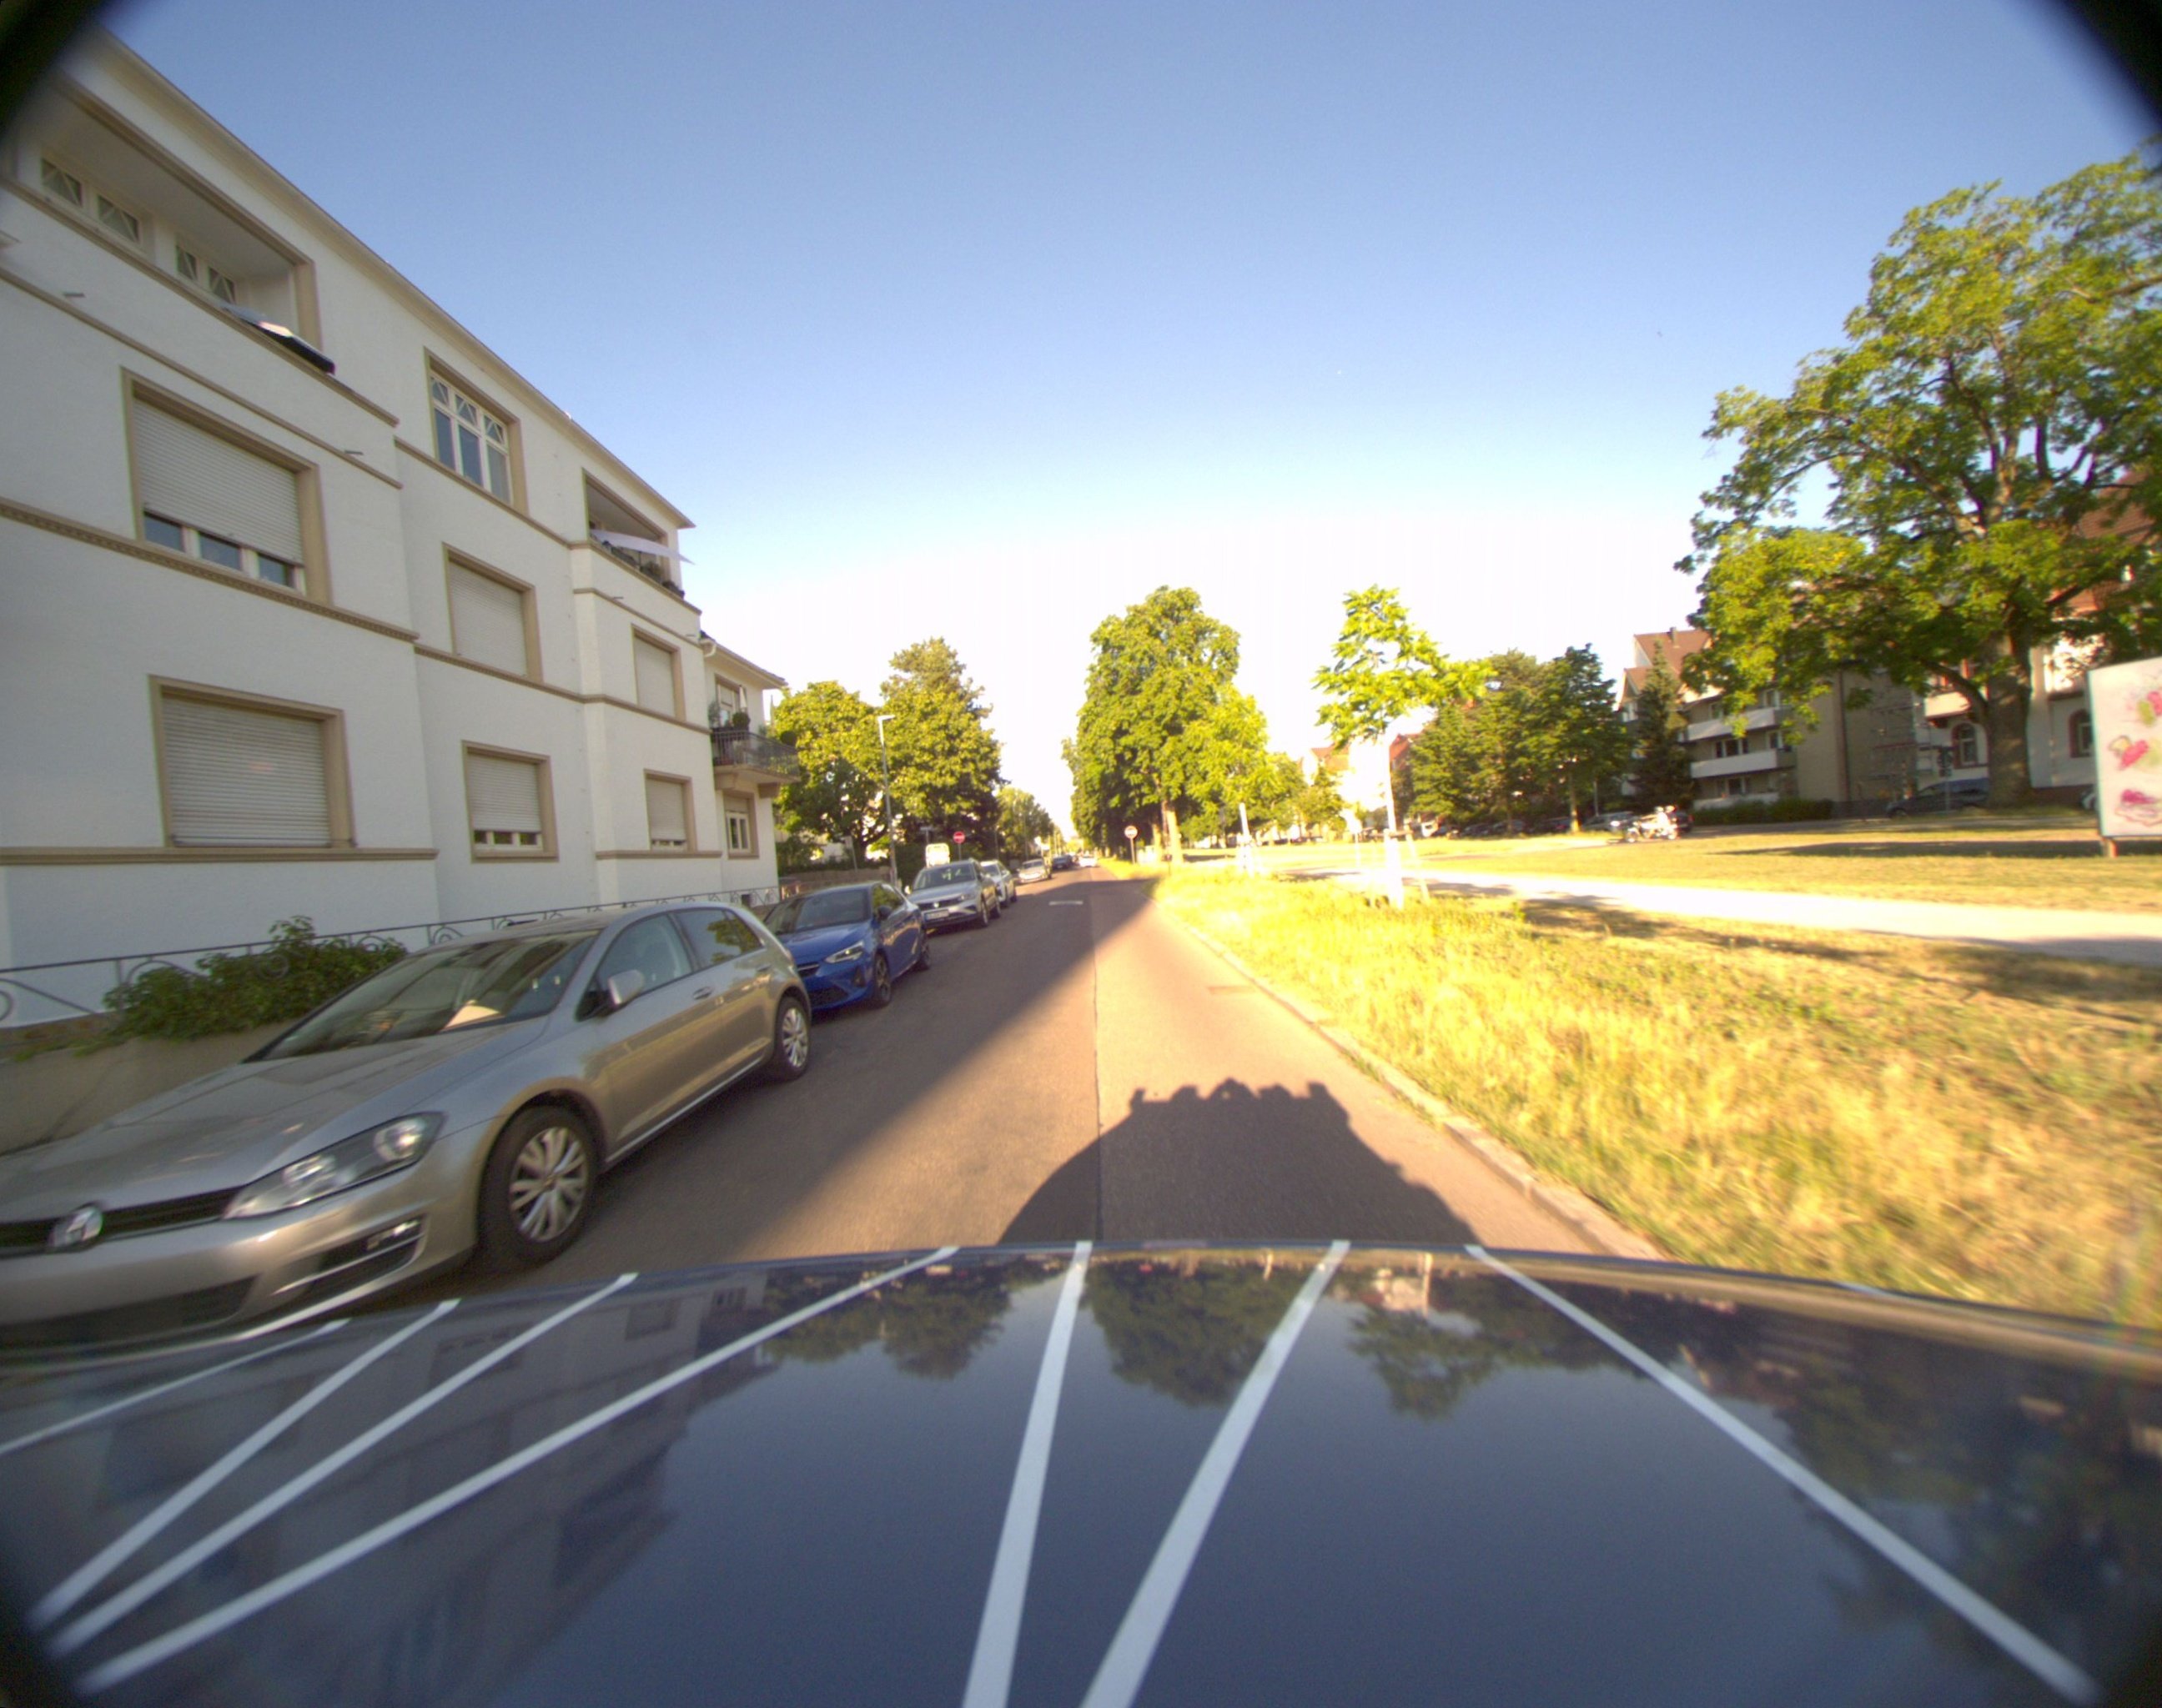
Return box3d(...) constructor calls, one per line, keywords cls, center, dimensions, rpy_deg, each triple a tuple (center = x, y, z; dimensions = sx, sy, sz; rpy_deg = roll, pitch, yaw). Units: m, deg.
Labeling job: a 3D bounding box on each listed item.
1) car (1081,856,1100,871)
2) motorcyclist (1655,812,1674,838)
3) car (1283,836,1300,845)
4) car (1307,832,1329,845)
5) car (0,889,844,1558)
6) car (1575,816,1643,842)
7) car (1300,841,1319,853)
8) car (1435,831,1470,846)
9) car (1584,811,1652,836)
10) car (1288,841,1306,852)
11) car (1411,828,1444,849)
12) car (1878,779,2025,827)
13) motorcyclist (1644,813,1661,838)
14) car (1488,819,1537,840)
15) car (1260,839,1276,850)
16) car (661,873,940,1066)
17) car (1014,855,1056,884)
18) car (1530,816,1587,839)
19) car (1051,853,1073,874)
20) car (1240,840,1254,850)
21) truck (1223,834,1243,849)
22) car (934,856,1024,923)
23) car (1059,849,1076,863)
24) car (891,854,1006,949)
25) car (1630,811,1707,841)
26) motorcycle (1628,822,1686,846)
box3d(cls="car", center=(1.096, 1.016, 85.618), dimensions=(1.998, 1.483, 3.999), rpy_deg=(-3, 1, 1))
box3d(cls="motorcyclist", center=(27.588, -1.369, 35.920), dimensions=(0.574, 1.143, 0.752), rpy_deg=(-4, 1, 43))
box3d(cls="car", center=(41.792, -2.663, 150.990), dimensions=(1.999, 1.835, 3.998), rpy_deg=(-1, 2, -2))
box3d(cls="car", center=(35.058, -2.267, 112.613), dimensions=(1.998, 1.692, 4.000), rpy_deg=(-4, 0, 1))
box3d(cls="car", center=(-3.178, 1.202, 4.365), dimensions=(1.916, 1.550, 4.567), rpy_deg=(-9, -1, 1))
box3d(cls="car", center=(34.096, -1.593, 49.174), dimensions=(1.692, 1.399, 3.642), rpy_deg=(-4, 0, -4))
box3d(cls="car", center=(40.975, -1.199, 136.329), dimensions=(1.999, 1.895, 3.999), rpy_deg=(-4, 0, -2))
box3d(cls="car", center=(40.739, -1.716, 83.371), dimensions=(1.998, 1.596, 4.000), rpy_deg=(-1, 2, 3))
box3d(cls="car", center=(40.187, -2.252, 56.947), dimensions=(1.999, 1.490, 3.999), rpy_deg=(-4, 0, -4))
box3d(cls="car", center=(40.401, -1.398, 142.033), dimensions=(1.999, 1.872, 3.998), rpy_deg=(-1, 2, -2))
box3d(cls="car", center=(40.811, -1.801, 89.649), dimensions=(1.998, 2.001, 4.002), rpy_deg=(-10, -1, 3))
box3d(cls="car", center=(39.851, -2.278, 34.962), dimensions=(1.624, 1.814, 4.287), rpy_deg=(-4, 0, -4))
box3d(cls="motorcyclist", center=(27.276, -1.374, 36.292), dimensions=(0.574, 1.143, 0.752), rpy_deg=(-4, 1, 36))
box3d(cls="car", center=(34.456, -1.920, 60.749), dimensions=(1.560, 1.408, 3.642), rpy_deg=(-4, 0, -4))
box3d(cls="car", center=(35.340, -1.891, 143.683), dimensions=(2.125, 2.002, 3.998), rpy_deg=(-1, 2, -1))
box3d(cls="car", center=(-3.156, 1.193, 9.652), dimensions=(1.767, 1.427, 4.302), rpy_deg=(-11, 1, -1))
box3d(cls="car", center=(-2.839, 0.920, 47.641), dimensions=(2.111, 1.396, 4.132), rpy_deg=(-10, 0, 1))
box3d(cls="car", center=(34.194, -1.880, 54.473), dimensions=(1.560, 1.360, 3.642), rpy_deg=(-4, 0, -4))
box3d(cls="car", center=(-2.103, 1.024, 84.832), dimensions=(1.998, 2.179, 4.001), rpy_deg=(-4, 0, 1))
box3d(cls="car", center=(35.787, -1.965, 163.870), dimensions=(1.998, 2.002, 4.001), rpy_deg=(-4, 0, 3))
box3d(cls="truck", center=(35.862, -2.984, 179.587), dimensions=(2.785, 3.128, 7.710), rpy_deg=(-5, 0, -1))
box3d(cls="car", center=(-3.136, 1.027, 24.378), dimensions=(1.880, 1.525, 4.589), rpy_deg=(-10, 1, 2))
box3d(cls="car", center=(-1.768, 0.255, 99.389), dimensions=(1.998, 1.624, 4.000), rpy_deg=(-4, 0, 1))
box3d(cls="car", center=(-3.048, 1.021, 18.488), dimensions=(1.806, 1.639, 4.583), rpy_deg=(-9, 2, -1))
box3d(cls="car", center=(34.461, -1.621, 44.674), dimensions=(1.894, 1.513, 3.681), rpy_deg=(-4, 0, 6))
box3d(cls="motorcycle", center=(27.416, -0.950, 36.199), dimensions=(2.106, 0.951, 0.567), rpy_deg=(-5, 1, 32))
